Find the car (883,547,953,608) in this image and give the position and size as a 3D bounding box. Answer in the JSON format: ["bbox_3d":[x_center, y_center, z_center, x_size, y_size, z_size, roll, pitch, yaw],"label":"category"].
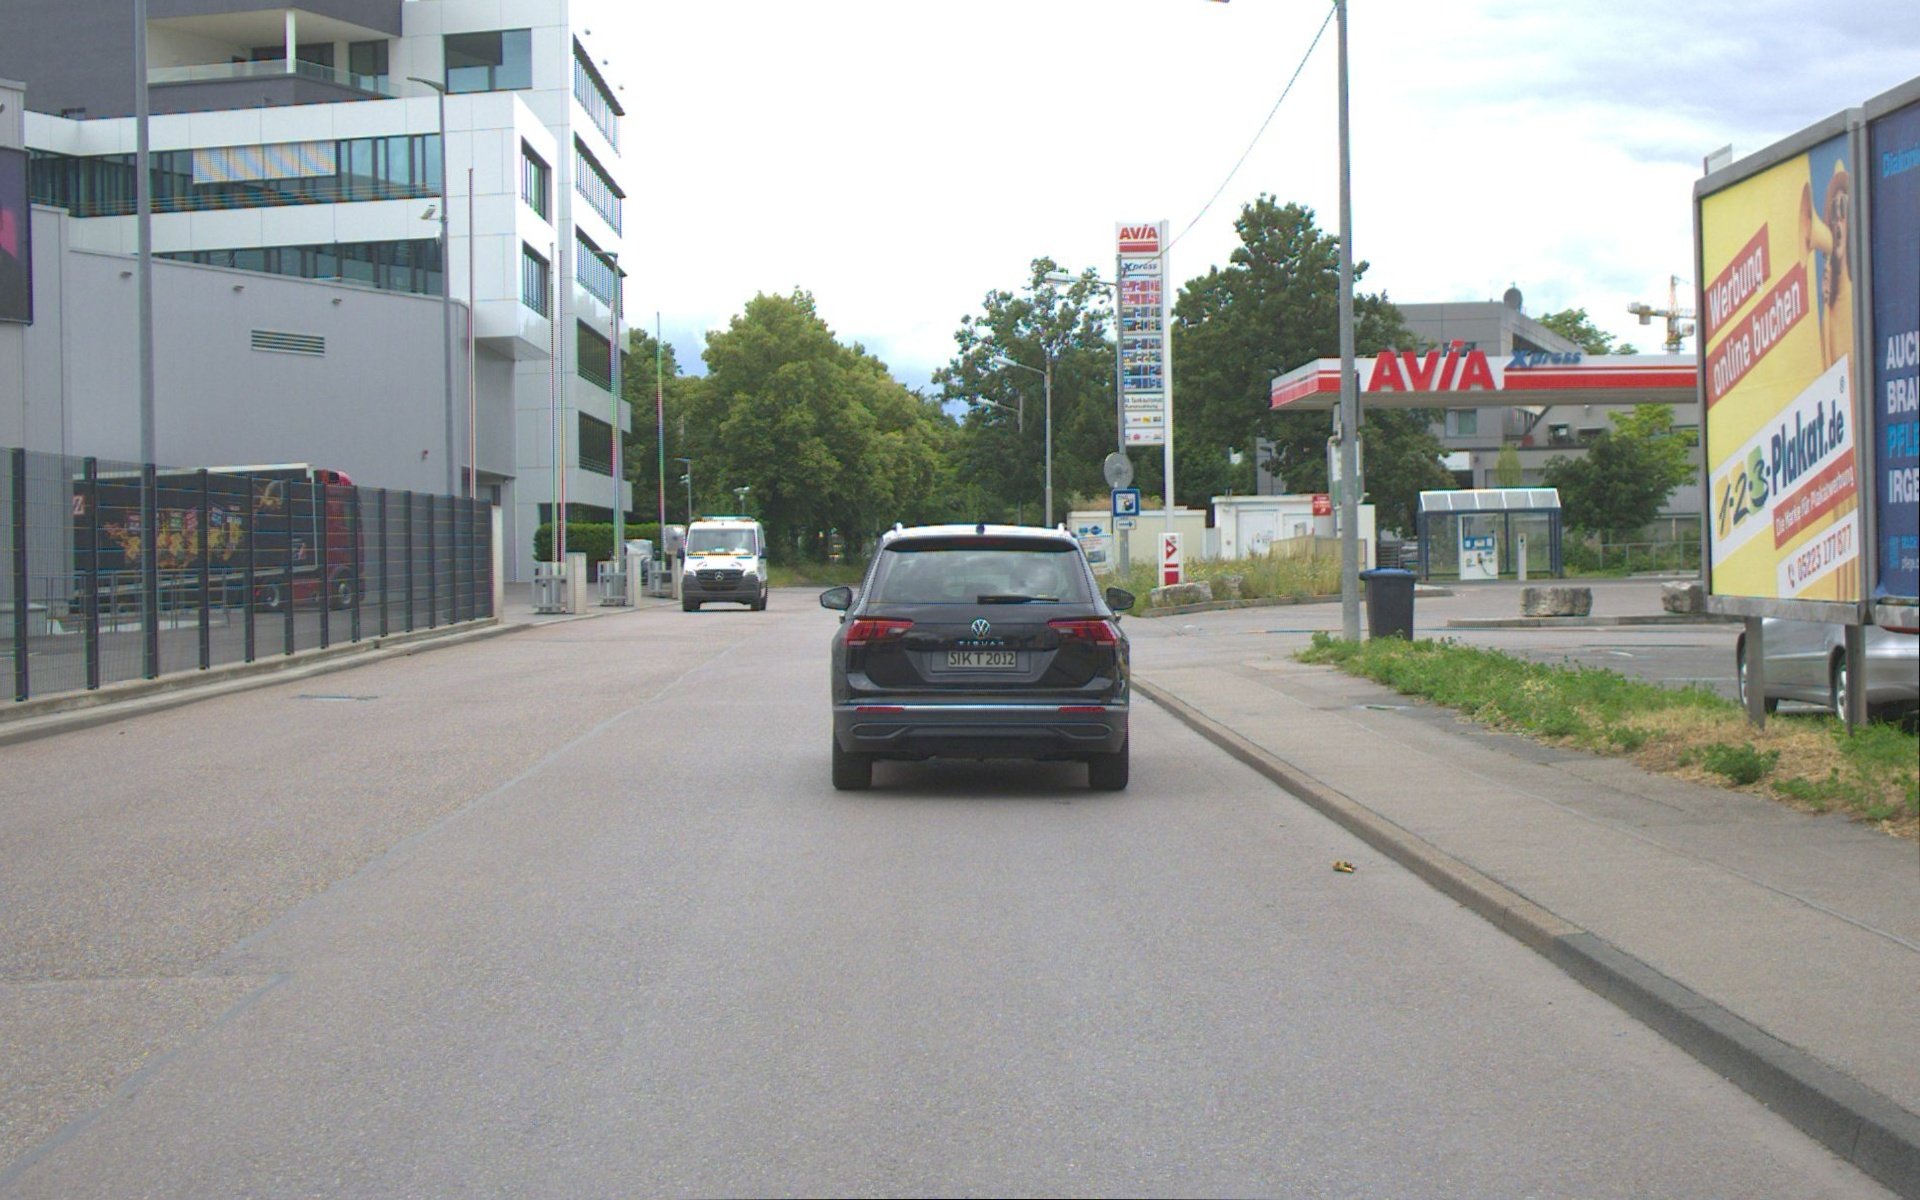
[{"bbox_3d":[-1.256,-0.683,101.441,1.993,1.678,4.372,-1,2,-1],"label":"car"}]

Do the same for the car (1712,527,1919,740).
[{"bbox_3d":[7.062,0.219,25.642,1.889,1.440,4.429,1,1,0],"label":"car"}]

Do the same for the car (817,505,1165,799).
[{"bbox_3d":[0.151,0.286,22.065,1.993,1.678,4.371,-1,0,-1],"label":"car"}]

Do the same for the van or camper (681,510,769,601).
[{"bbox_3d":[-5.975,-1.149,87.841,1.993,2.248,4.000,-1,1,-1],"label":"van or camper"}]
